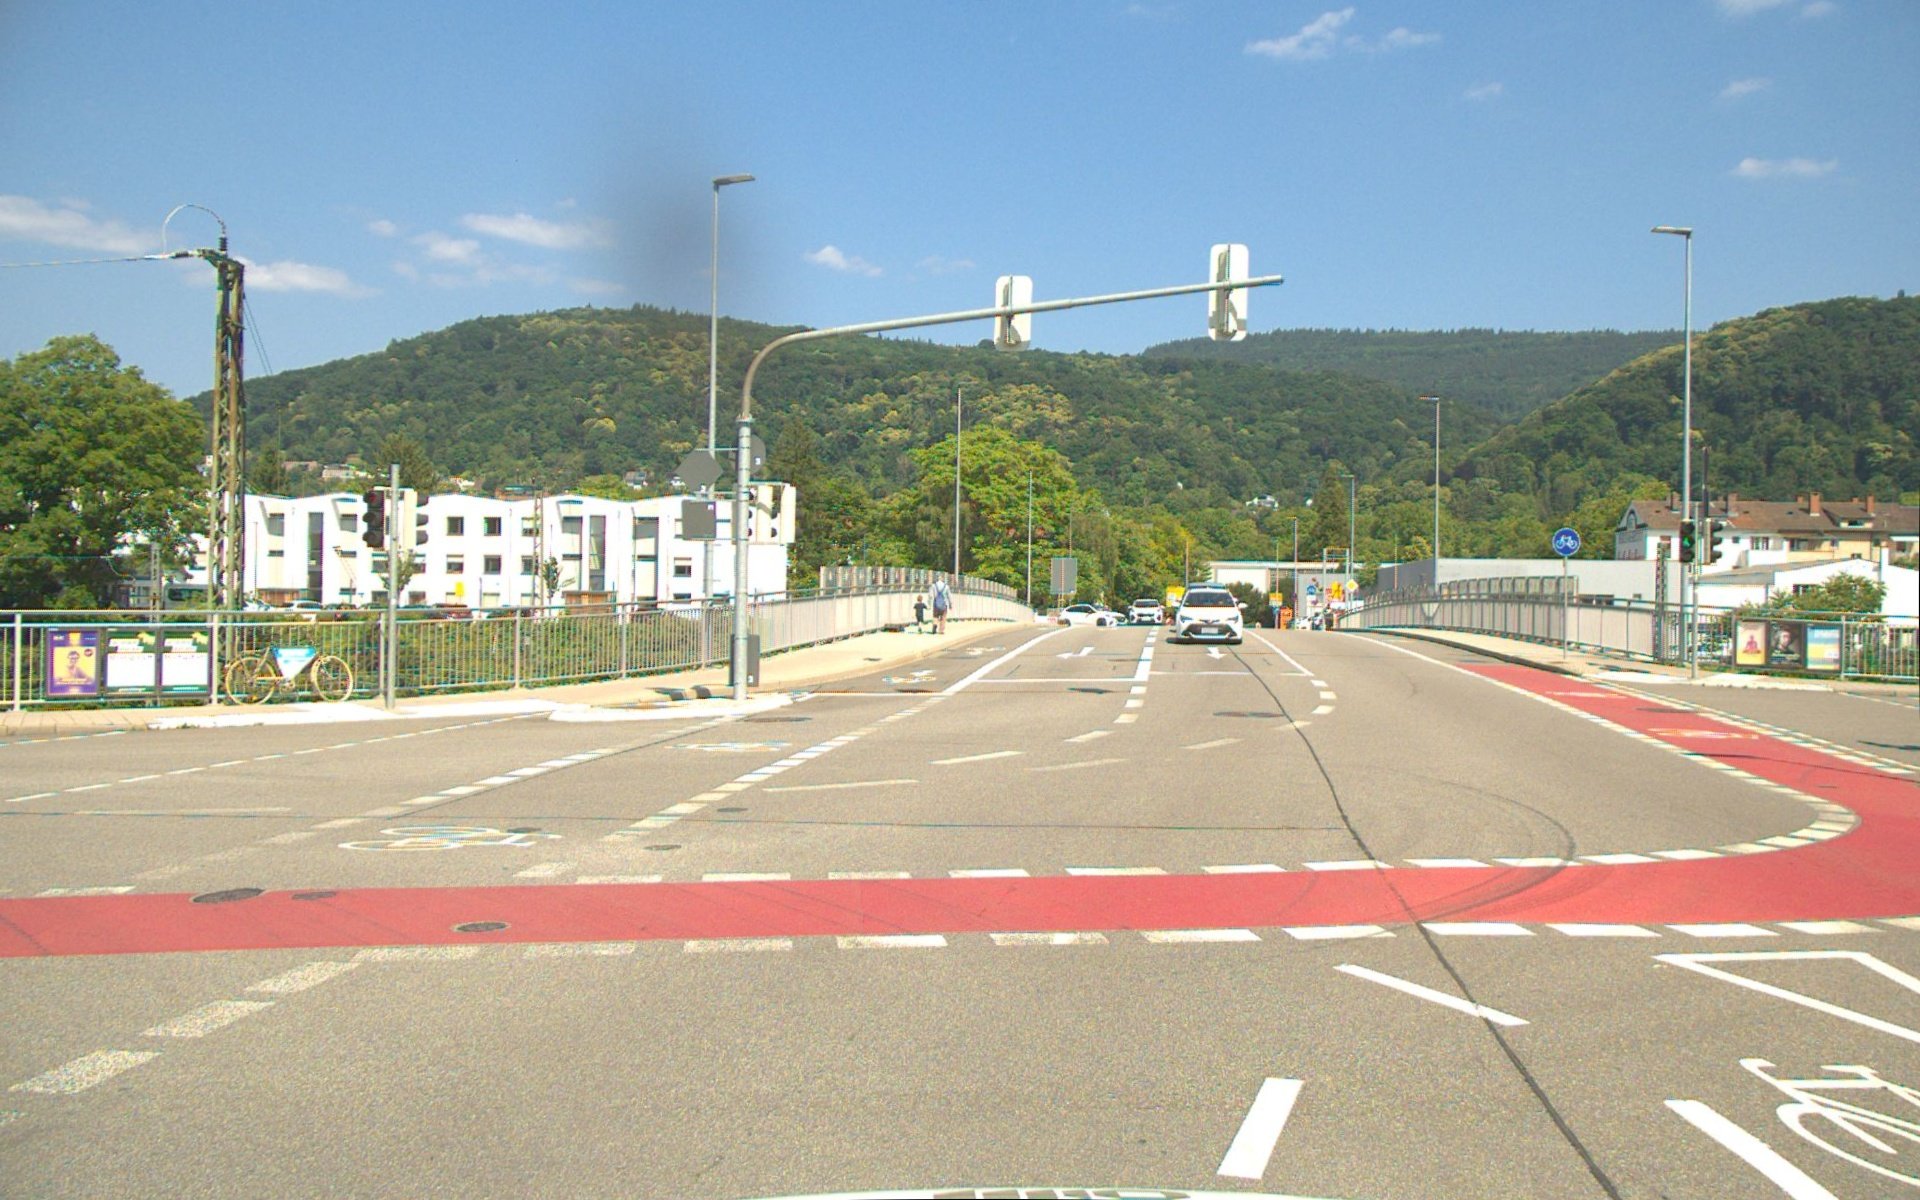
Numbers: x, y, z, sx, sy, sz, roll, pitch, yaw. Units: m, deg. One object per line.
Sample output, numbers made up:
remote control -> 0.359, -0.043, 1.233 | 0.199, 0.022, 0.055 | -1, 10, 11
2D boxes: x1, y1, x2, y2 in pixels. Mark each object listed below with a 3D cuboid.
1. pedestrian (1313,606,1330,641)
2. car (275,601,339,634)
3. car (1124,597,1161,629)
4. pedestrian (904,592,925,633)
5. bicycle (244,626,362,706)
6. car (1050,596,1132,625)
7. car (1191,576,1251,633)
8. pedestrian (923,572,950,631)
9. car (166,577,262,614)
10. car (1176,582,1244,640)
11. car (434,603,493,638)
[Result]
pedestrian -> 21.784, 1.406, 99.677 | 0.837, 2.049, 1.156 | 1, 0, 7
car -> -41.394, 1.088, 104.948 | 1.951, 2.049, 4.473 | 1, 0, 5
car -> 10.163, 0.706, 92.395 | 1.951, 1.749, 4.636 | 1, 0, 6
pedestrian -> -1.285, 0.357, 46.561 | 0.500, 1.141, 0.477 | 1, 0, 7
bicycle -> -9.497, 0.940, 23.949 | 1.608, 1.120, 0.293 | 1, 0, -45
car -> 8.139, 0.651, 103.190 | 4.974, 1.749, 1.987 | 1, 0, 43
car -> 8.115, 0.128, 51.663 | 1.694, 1.655, 4.446 | 1, 0, 7
pedestrian -> -0.661, 0.039, 46.695 | 0.630, 1.646, 0.921 | 1, 0, 7
car -> -44.594, -0.282, 99.011 | 4.888, 2.149, 1.994 | 1, 0, -13
car -> 6.732, 0.278, 44.838 | 1.694, 1.495, 4.414 | 1, 0, 7
car -> -30.653, 1.242, 102.333 | 1.951, 2.049, 4.473 | 1, 0, 5
